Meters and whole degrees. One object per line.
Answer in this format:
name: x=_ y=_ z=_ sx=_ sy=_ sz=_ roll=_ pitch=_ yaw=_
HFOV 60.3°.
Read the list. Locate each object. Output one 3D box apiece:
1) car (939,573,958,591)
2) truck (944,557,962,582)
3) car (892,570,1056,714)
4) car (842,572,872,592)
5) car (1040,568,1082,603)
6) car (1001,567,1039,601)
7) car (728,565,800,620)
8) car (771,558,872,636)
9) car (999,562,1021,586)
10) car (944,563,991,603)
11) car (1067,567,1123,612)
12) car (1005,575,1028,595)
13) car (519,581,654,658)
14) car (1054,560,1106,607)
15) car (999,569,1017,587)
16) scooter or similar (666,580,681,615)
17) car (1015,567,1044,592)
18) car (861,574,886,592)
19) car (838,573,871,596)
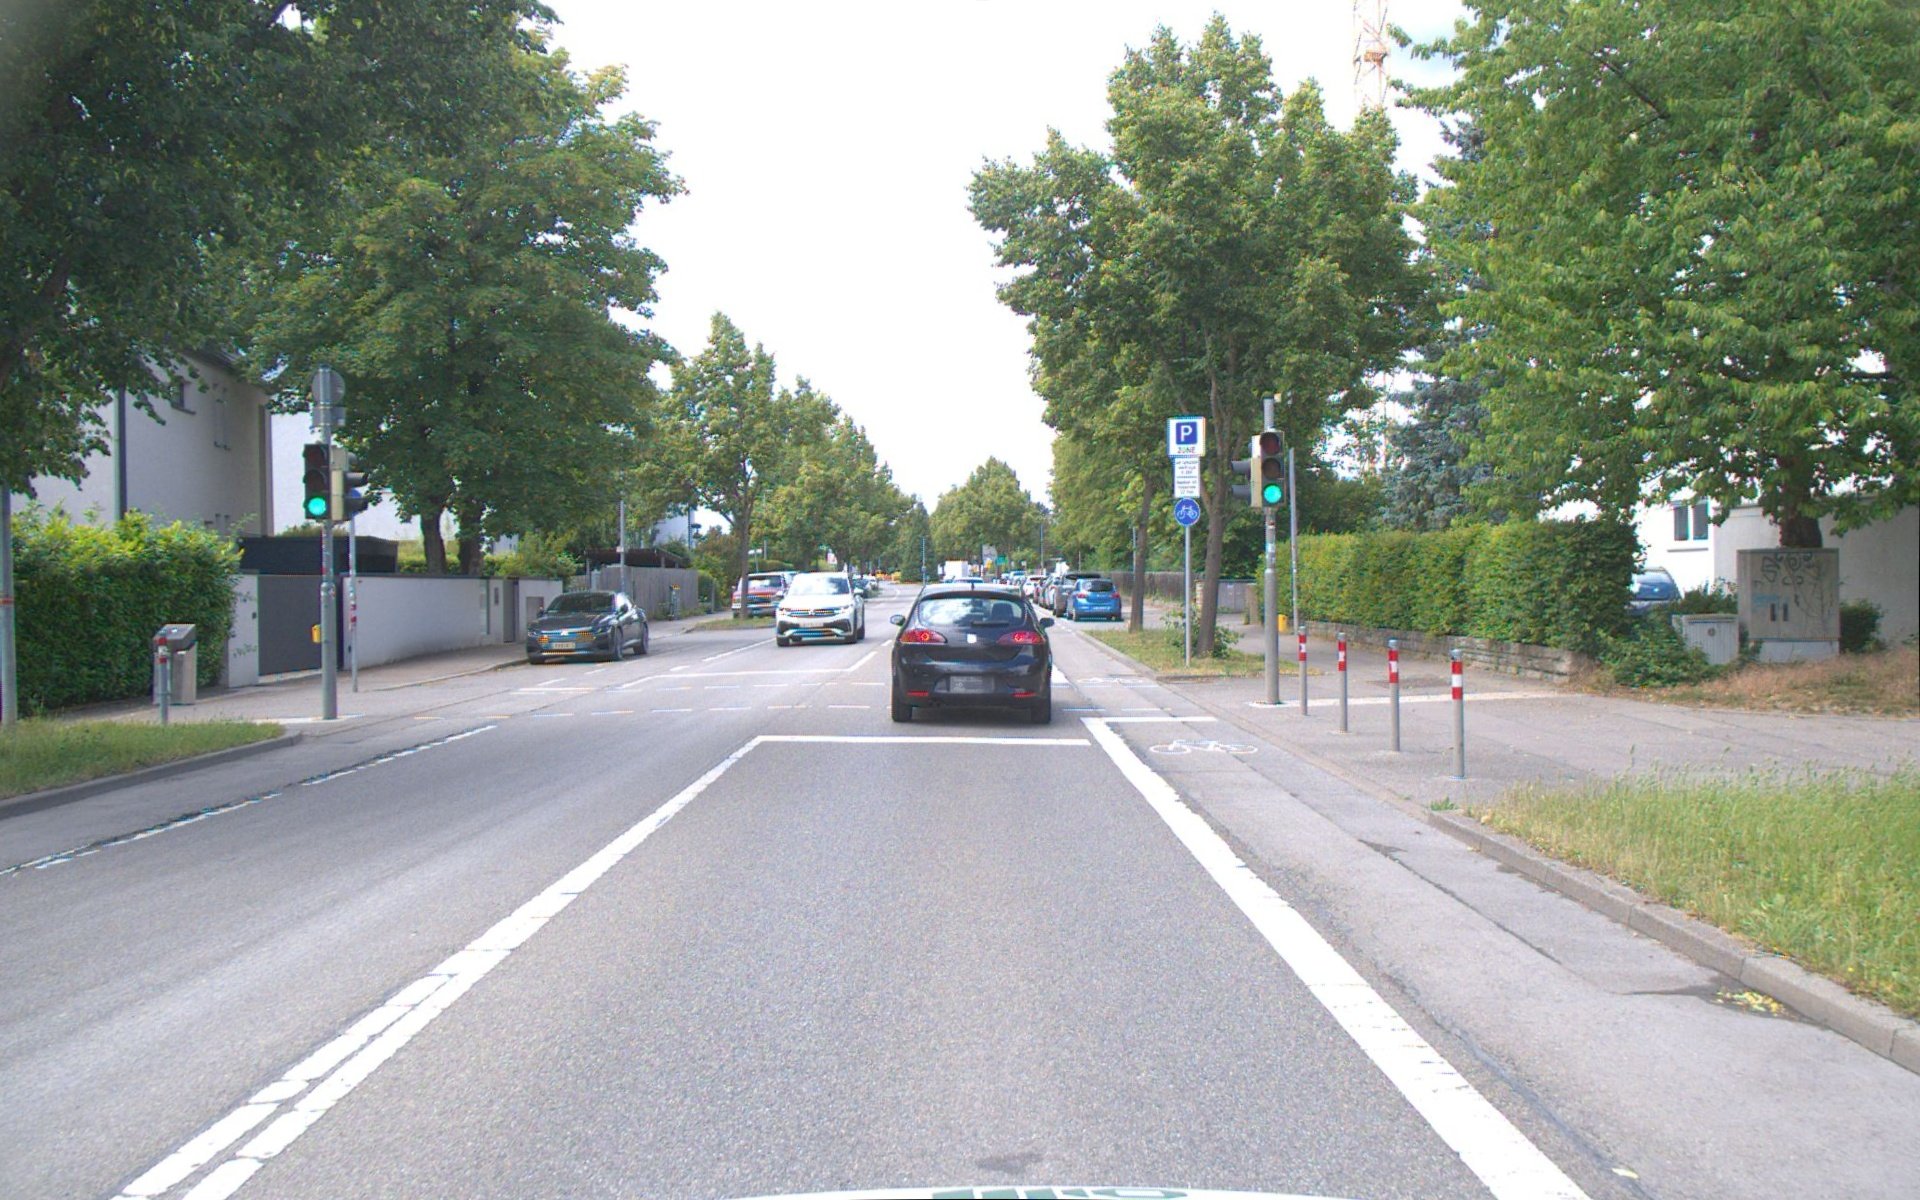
car: x=-1.142 y=-1.780 z=162.768 sx=1.843 sy=1.718 sz=4.213 roll=-1 pitch=1 yaw=0
truck: x=-0.923 y=-4.099 z=222.825 sx=2.232 sy=3.158 sz=8.509 roll=1 pitch=0 yaw=-1
car: x=0.096 y=0.408 z=18.561 sx=1.629 sy=1.426 sz=3.811 roll=1 pitch=0 yaw=-2
car: x=-8.295 y=-1.450 z=133.897 sx=2.057 sy=1.532 sz=5.784 roll=-2 pitch=1 yaw=0
car: x=4.668 y=-0.681 z=76.831 sx=1.653 sy=1.591 sz=4.213 roll=-1 pitch=1 yaw=0
car: x=2.861 y=-0.793 z=80.045 sx=1.653 sy=1.591 sz=4.213 roll=-1 pitch=1 yaw=0
car: x=-7.506 y=-0.310 z=63.830 sx=2.057 sy=1.929 sz=5.784 roll=-2 pitch=1 yaw=0
car: x=-3.186 y=-0.097 z=38.954 sx=1.836 sy=1.663 sz=4.342 roll=-2 pitch=1 yaw=2
car: x=4.126 y=-2.150 z=137.944 sx=1.653 sy=1.908 sz=4.213 roll=-1 pitch=1 yaw=0
car: x=0.312 y=-0.693 z=66.551 sx=1.808 sy=1.536 sz=3.812 roll=1 pitch=0 yaw=0
car: x=4.744 y=-0.382 z=58.487 sx=1.653 sy=1.516 sz=3.355 roll=-1 pitch=1 yaw=0
car: x=4.490 y=-1.206 z=131.577 sx=1.653 sy=1.591 sz=4.213 roll=-1 pitch=1 yaw=0
car: x=-7.681 y=0.355 z=34.458 sx=1.683 sy=1.419 sz=4.801 roll=-2 pitch=1 yaw=0
car: x=4.580 y=-0.631 z=63.699 sx=1.653 sy=1.741 sz=4.213 roll=-1 pitch=1 yaw=0
car: x=5.048 y=-2.298 z=174.509 sx=1.653 sy=1.908 sz=4.213 roll=-1 pitch=1 yaw=0
scooter or similar: x=-10.469 y=-0.109 z=60.510 sx=0.379 sy=1.251 sz=1.497 roll=-1 pitch=1 yaw=-4
car: x=4.472 y=-1.322 z=106.959 sx=1.653 sy=1.591 sz=4.213 roll=-1 pitch=1 yaw=0
car: x=-8.057 y=-1.578 z=154.307 sx=2.057 sy=1.532 sz=5.784 roll=-2 pitch=1 yaw=0
car: x=-7.685 y=-1.155 z=121.189 sx=2.057 sy=1.532 sz=5.784 roll=-2 pitch=1 yaw=0
